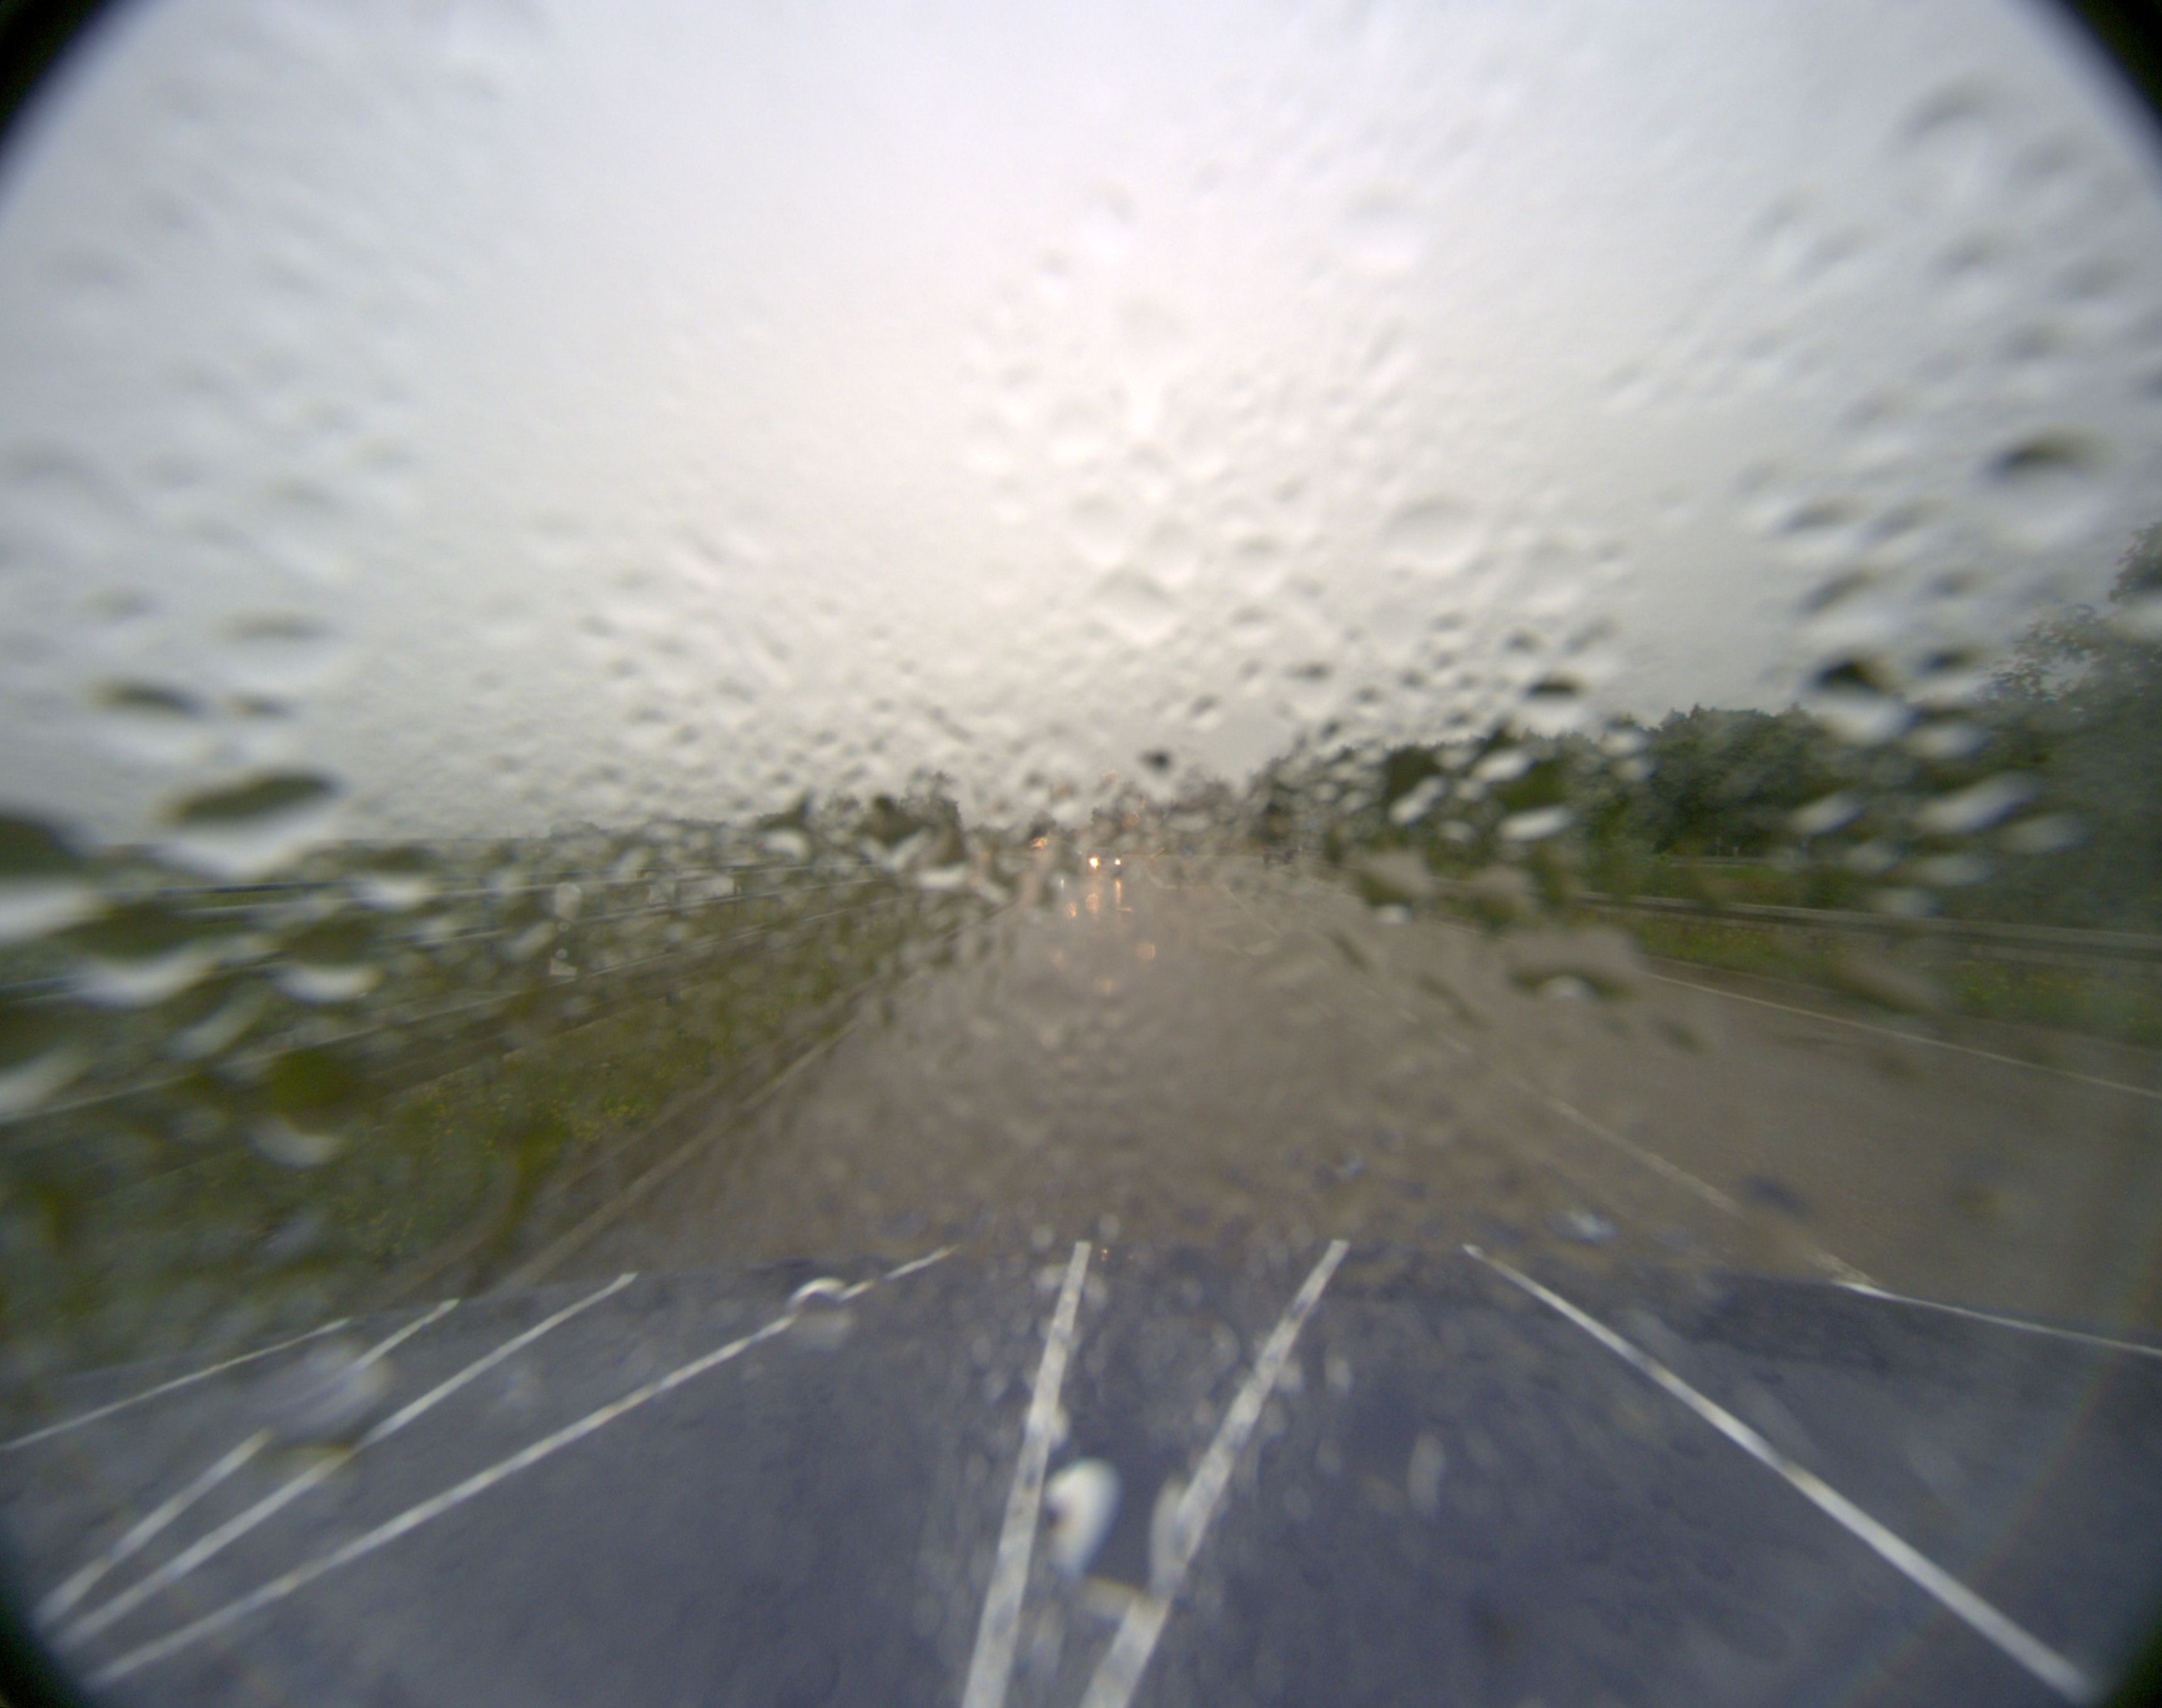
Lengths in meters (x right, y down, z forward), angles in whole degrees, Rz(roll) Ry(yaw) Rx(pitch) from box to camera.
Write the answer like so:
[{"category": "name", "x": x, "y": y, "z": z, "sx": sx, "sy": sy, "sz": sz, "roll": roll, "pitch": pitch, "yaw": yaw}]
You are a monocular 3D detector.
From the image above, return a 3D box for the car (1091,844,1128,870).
[{"category": "car", "x": 1.592, "y": 0.164, "z": 42.526, "sx": 1.948, "sy": 1.363, "sz": 4.504, "roll": 1, "pitch": 0, "yaw": 2}]

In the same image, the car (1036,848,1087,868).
[{"category": "car", "x": -1.472, "y": 0.258, "z": 56.528, "sx": 1.767, "sy": 1.412, "sz": 4.492, "roll": 0, "pitch": 0, "yaw": -31}]

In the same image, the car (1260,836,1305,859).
[{"category": "car", "x": 14.752, "y": -0.500, "z": 55.500, "sx": 1.801, "sy": 1.566, "sz": 4.007, "roll": 1, "pitch": 3, "yaw": 36}]
